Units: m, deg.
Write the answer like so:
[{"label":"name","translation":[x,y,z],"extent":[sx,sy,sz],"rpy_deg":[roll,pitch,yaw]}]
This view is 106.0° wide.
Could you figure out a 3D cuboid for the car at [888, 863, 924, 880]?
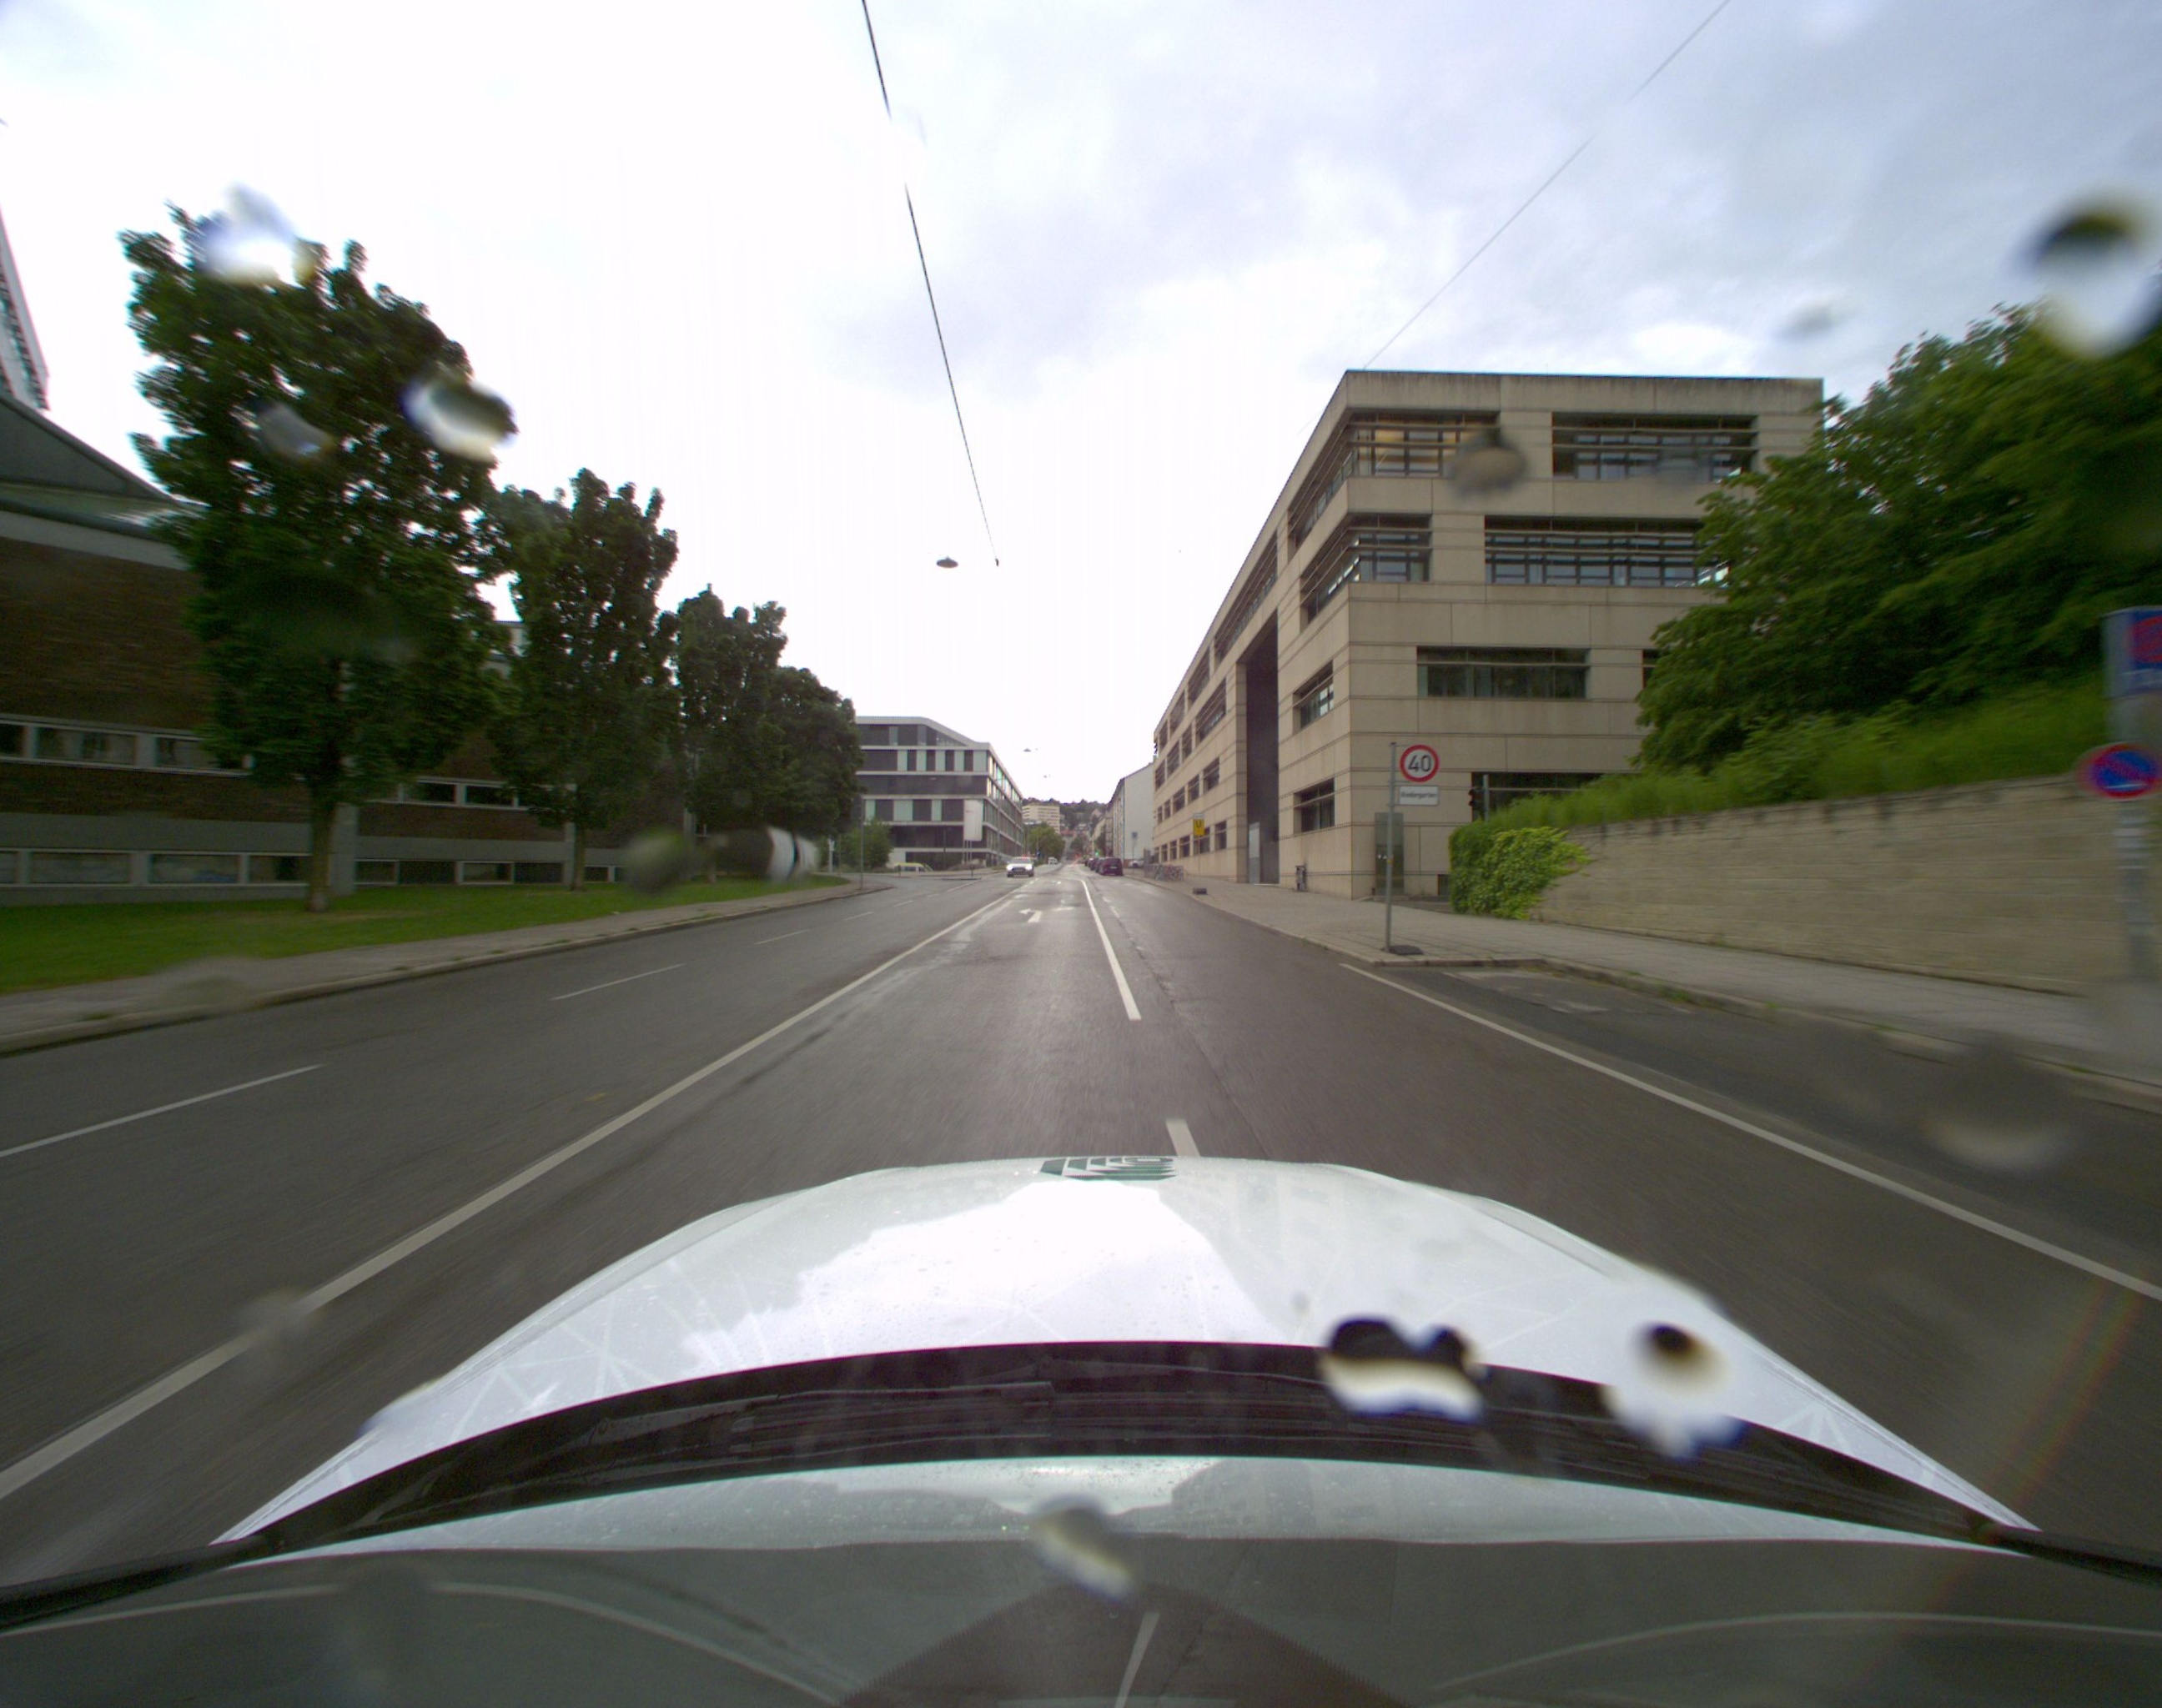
[{"label":"car","translation":[-24.145,2.448,112.698],"extent":[4.585,2.174,1.926],"rpy_deg":[1,-2,-7]}]

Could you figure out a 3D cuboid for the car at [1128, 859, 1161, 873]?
[{"label":"car","translation":[8.863,1.697,114.498],"extent":[4.426,1.713,1.903],"rpy_deg":[-2,-1,-2]}]

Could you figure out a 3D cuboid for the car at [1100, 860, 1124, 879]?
[{"label":"car","translation":[2.739,1.360,73.115],"extent":[1.766,1.604,4.390],"rpy_deg":[1,-1,-2]}]

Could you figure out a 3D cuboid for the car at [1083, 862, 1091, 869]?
[{"label":"car","translation":[1.650,3.105,212.266],"extent":[1.859,1.770,4.191],"rpy_deg":[1,-1,2]}]

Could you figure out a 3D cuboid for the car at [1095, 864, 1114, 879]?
[{"label":"car","translation":[2.568,1.855,88.564],"extent":[1.739,1.533,4.315],"rpy_deg":[2,-1,-2]}]

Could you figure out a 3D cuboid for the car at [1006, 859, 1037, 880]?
[{"label":"car","translation":[-4.562,1.161,63.089],"extent":[1.874,1.491,5.222],"rpy_deg":[-2,-1,2]}]

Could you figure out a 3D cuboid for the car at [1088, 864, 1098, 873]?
[{"label":"car","translation":[2.048,2.503,139.999],"extent":[1.701,1.454,3.982],"rpy_deg":[1,-1,-1]}]

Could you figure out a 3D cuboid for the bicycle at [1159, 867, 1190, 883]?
[{"label":"bicycle","translation":[5.644,1.242,49.229],"extent":[1.755,0.953,0.659],"rpy_deg":[0,-1,-4]}]

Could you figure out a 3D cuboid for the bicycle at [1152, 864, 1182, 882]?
[{"label":"bicycle","translation":[5.283,1.174,50.203],"extent":[1.727,1.119,0.658],"rpy_deg":[1,-1,-7]}]

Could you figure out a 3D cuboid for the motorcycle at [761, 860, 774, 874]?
[{"label":"motorcycle","translation":[-25.021,1.031,65.044],"extent":[1.155,1.125,0.415],"rpy_deg":[-1,-3,37]}]

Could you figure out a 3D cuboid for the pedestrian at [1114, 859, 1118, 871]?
[{"label":"pedestrian","translation":[5.745,1.797,133.994],"extent":[0.636,1.870,0.538],"rpy_deg":[1,-2,1]}]

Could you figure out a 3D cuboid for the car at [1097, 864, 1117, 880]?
[{"label":"car","translation":[2.607,1.790,81.253],"extent":[1.720,1.512,4.055],"rpy_deg":[3,-2,-1]}]

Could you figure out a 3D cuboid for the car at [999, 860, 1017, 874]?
[{"label":"car","translation":[-9.042,1.597,100.723],"extent":[1.844,1.618,4.489],"rpy_deg":[1,-1,0]}]

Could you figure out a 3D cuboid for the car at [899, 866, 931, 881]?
[{"label":"car","translation":[-23.787,2.764,116.776],"extent":[4.329,2.032,1.597],"rpy_deg":[1,-2,-1]}]

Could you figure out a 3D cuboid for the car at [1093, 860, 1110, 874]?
[{"label":"car","translation":[2.664,1.642,105.559],"extent":[1.930,1.750,4.794],"rpy_deg":[1,-1,-1]}]
